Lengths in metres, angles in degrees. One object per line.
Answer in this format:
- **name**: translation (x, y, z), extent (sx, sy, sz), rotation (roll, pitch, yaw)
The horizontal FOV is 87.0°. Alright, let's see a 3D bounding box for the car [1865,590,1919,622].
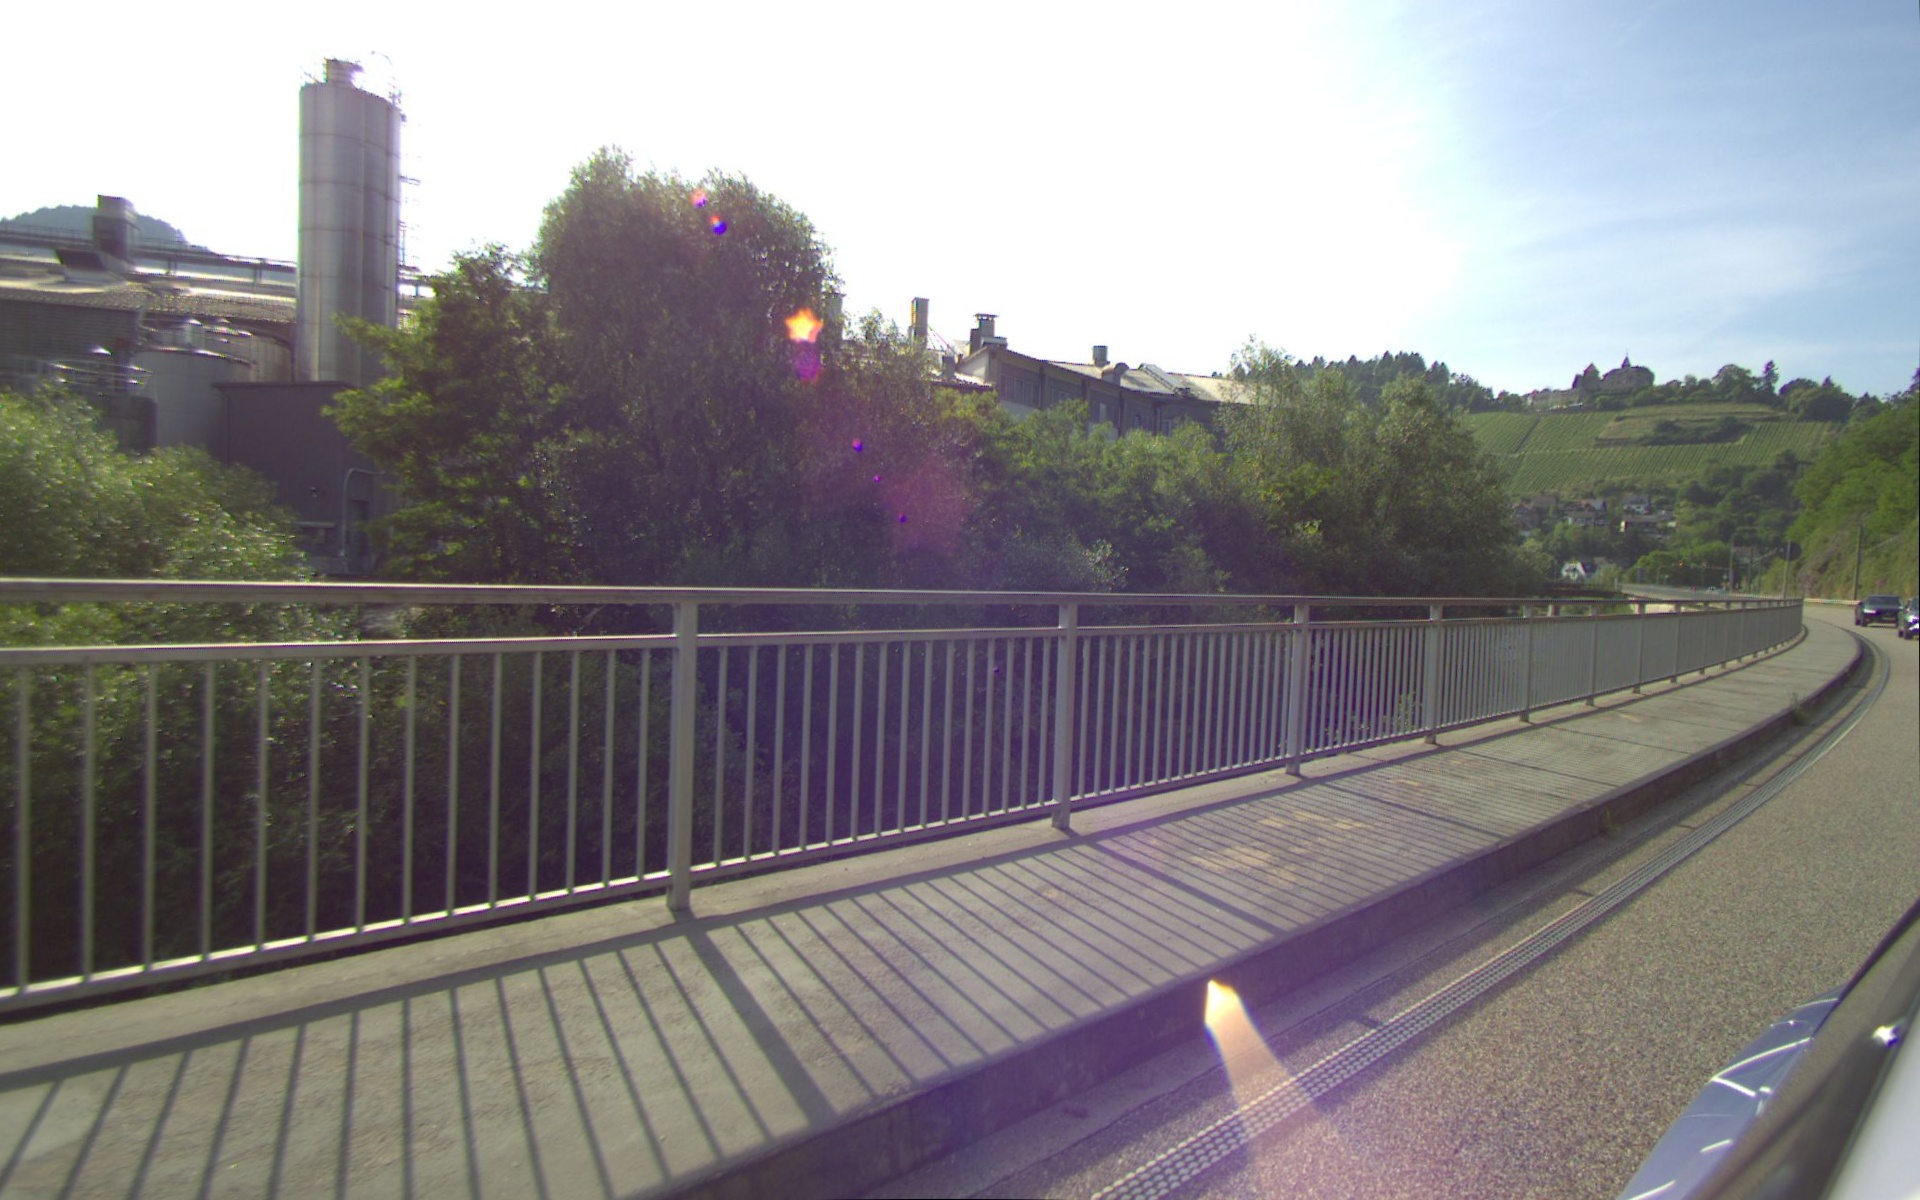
- **car**: translation (47.879, 0.291, 51.816), extent (1.992, 1.409, 3.943), rotation (7, 4, 39)

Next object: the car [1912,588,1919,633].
- **car**: translation (36.932, 0.403, 37.794), extent (1.858, 1.605, 3.940), rotation (3, 3, 42)
